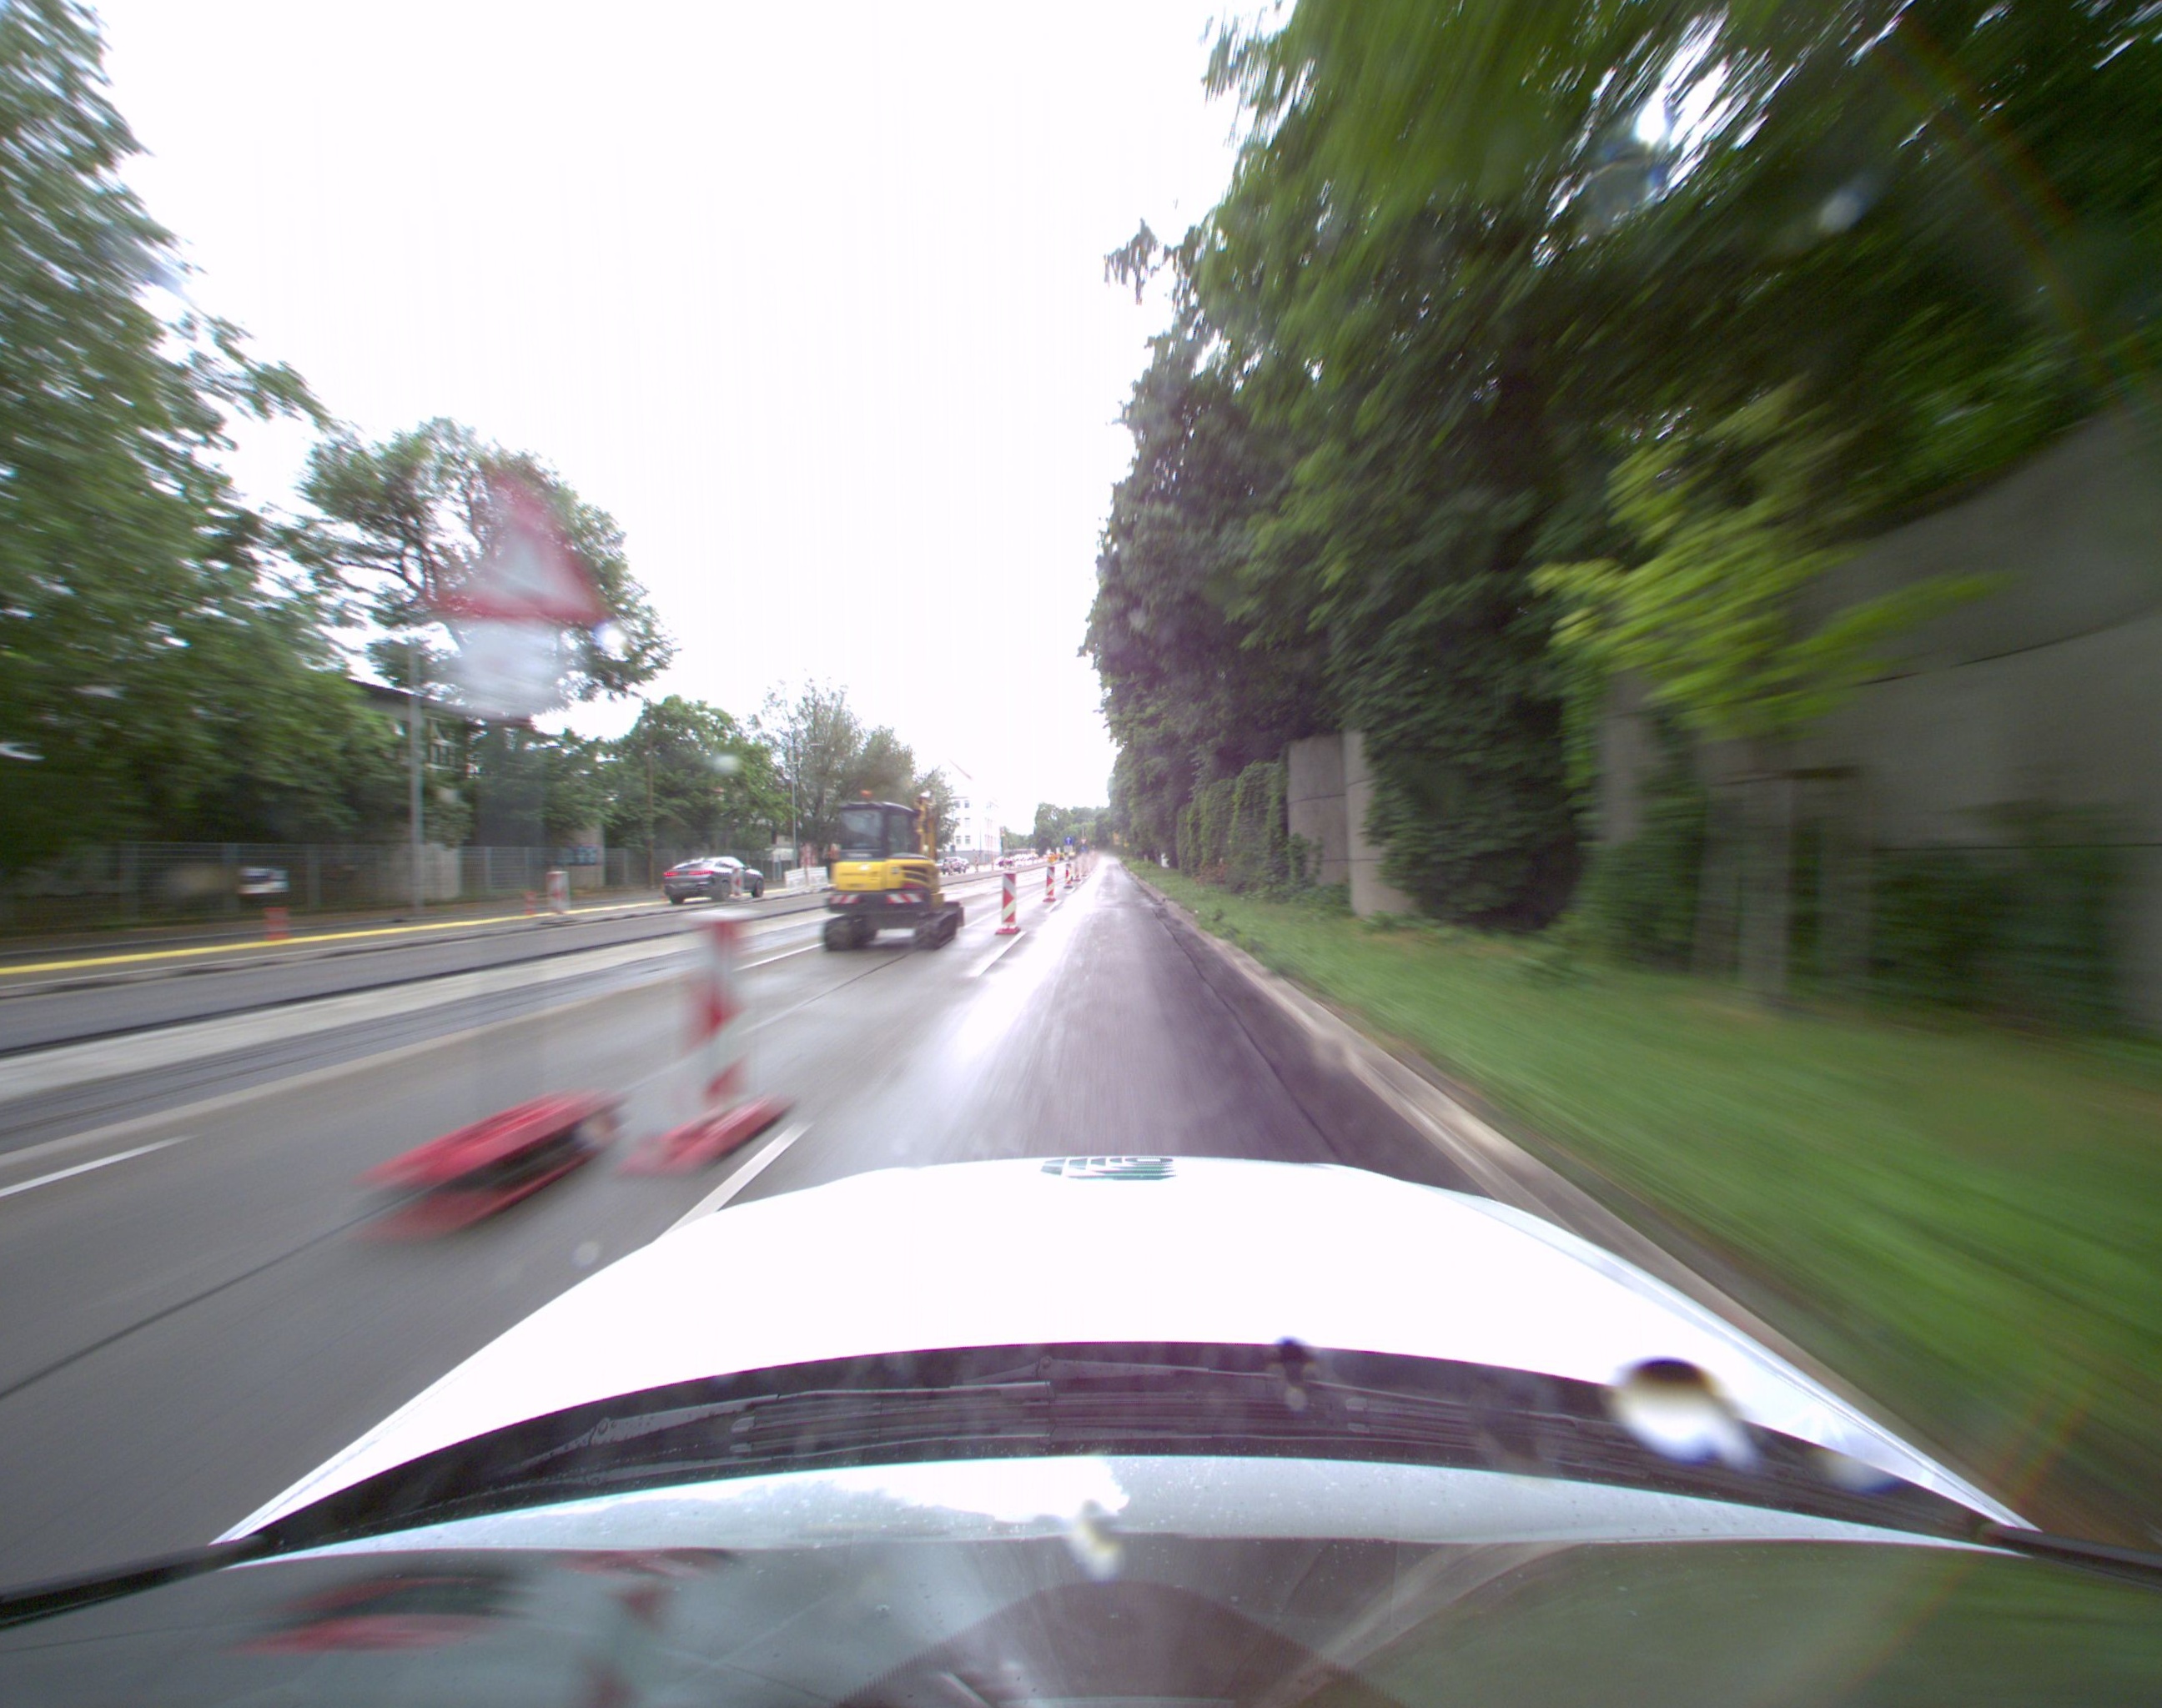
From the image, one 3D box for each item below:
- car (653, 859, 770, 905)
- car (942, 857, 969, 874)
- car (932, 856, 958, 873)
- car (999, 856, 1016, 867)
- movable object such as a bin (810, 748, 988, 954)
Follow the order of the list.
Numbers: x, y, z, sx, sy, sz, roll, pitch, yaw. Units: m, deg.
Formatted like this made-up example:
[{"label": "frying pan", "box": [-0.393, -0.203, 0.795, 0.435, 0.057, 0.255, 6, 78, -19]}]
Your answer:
[{"label": "car", "box": [-13.960, 1.005, 31.156, 2.069, 1.613, 5.057, -1, -1, 1]}, {"label": "car", "box": [-12.068, 1.095, 78.523, 1.847, 1.648, 4.002, -1, -1, 2]}, {"label": "car", "box": [-14.995, 1.146, 90.167, 1.986, 1.766, 4.281, -1, -1, 2]}, {"label": "car", "box": [-10.605, 1.071, 118.293, 1.986, 1.519, 4.001, -1, -1, 2]}, {"label": "movable object such as a bin", "box": [-3.343, -0.030, 16.408, 1.986, 3.367, 5.985, -1, -1, 2]}]
